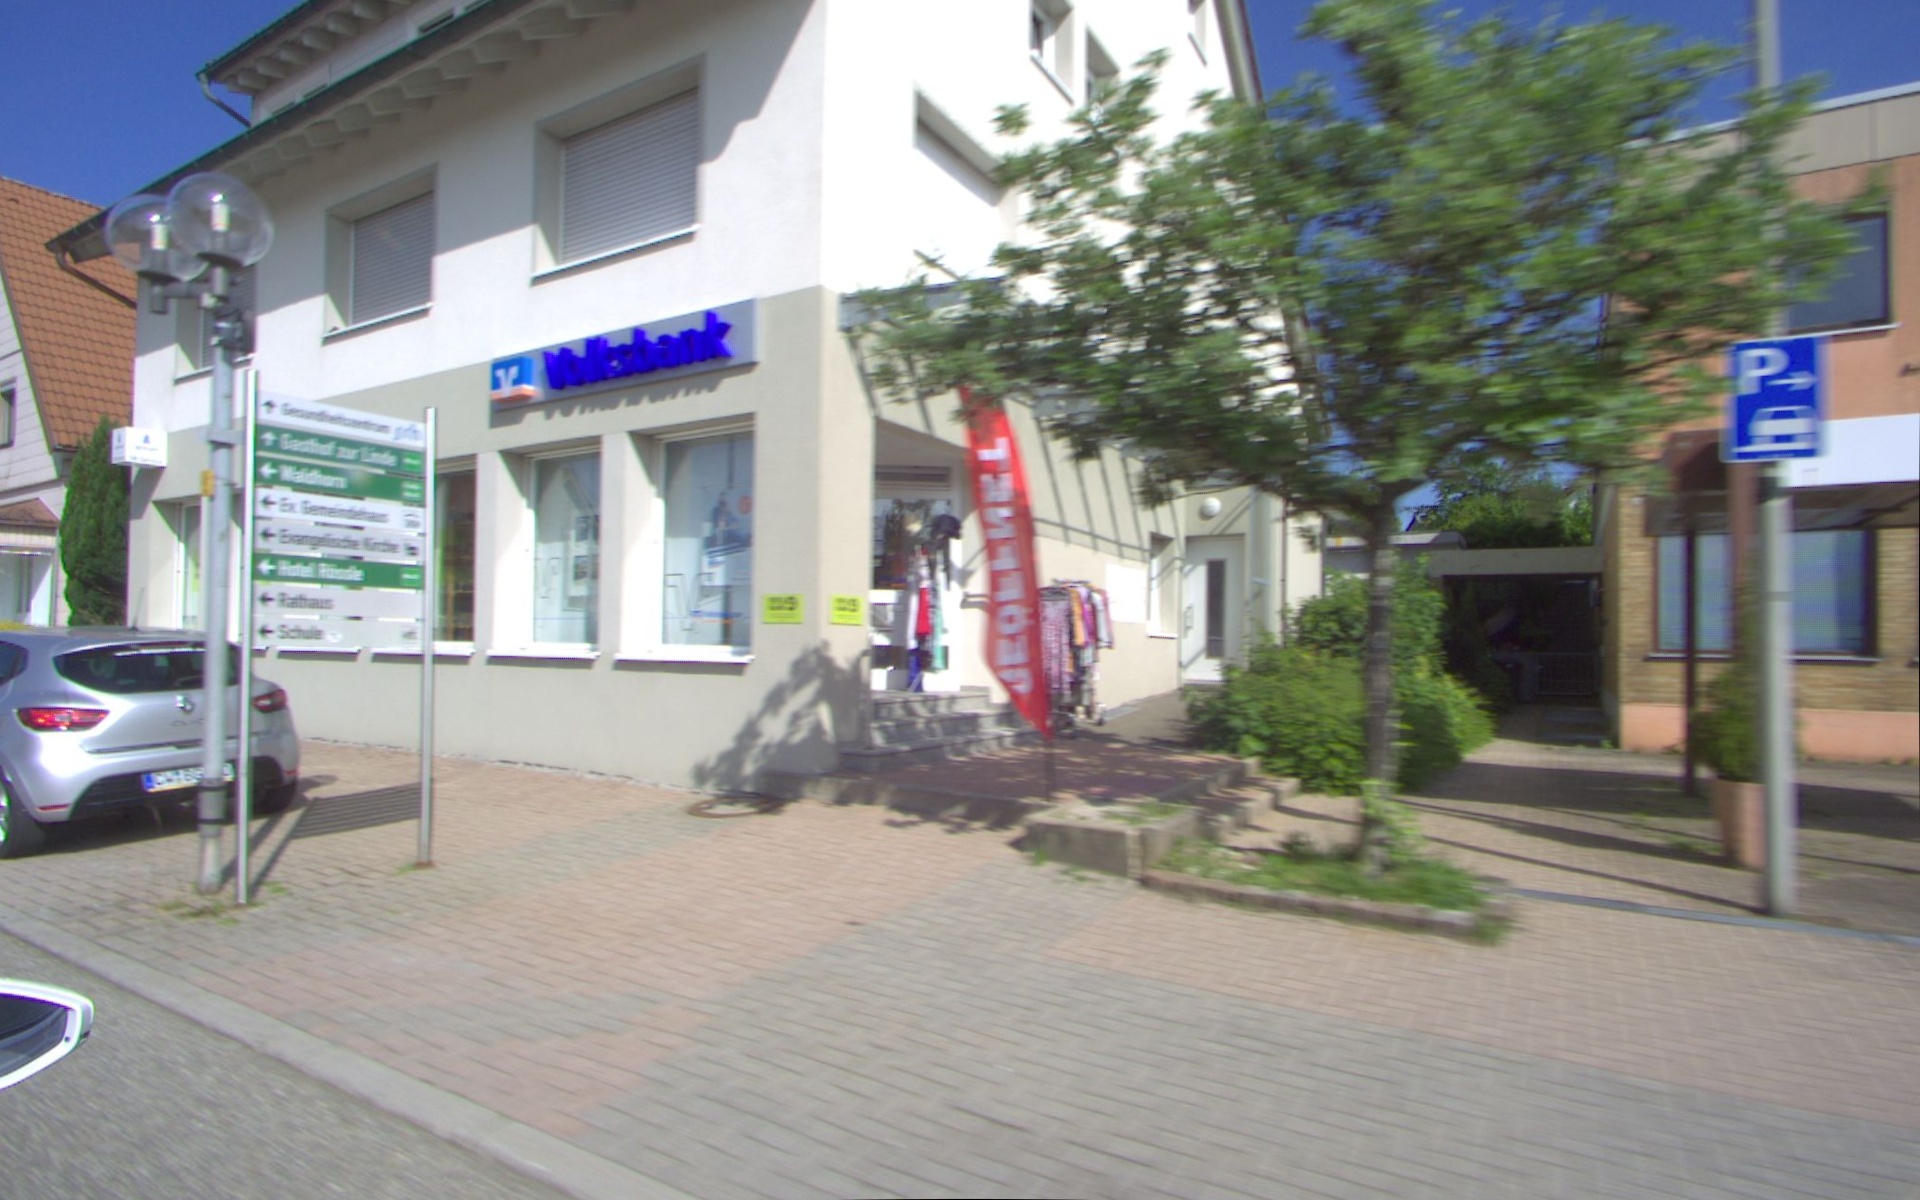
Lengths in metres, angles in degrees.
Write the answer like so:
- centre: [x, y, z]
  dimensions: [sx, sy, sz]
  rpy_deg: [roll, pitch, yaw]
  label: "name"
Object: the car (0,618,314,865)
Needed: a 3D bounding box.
- centre: [-6.910, 0.884, 7.635]
  dimensions: [3.874, 1.439, 1.633]
  rpy_deg: [-1, 1, 28]
  label: "car"
